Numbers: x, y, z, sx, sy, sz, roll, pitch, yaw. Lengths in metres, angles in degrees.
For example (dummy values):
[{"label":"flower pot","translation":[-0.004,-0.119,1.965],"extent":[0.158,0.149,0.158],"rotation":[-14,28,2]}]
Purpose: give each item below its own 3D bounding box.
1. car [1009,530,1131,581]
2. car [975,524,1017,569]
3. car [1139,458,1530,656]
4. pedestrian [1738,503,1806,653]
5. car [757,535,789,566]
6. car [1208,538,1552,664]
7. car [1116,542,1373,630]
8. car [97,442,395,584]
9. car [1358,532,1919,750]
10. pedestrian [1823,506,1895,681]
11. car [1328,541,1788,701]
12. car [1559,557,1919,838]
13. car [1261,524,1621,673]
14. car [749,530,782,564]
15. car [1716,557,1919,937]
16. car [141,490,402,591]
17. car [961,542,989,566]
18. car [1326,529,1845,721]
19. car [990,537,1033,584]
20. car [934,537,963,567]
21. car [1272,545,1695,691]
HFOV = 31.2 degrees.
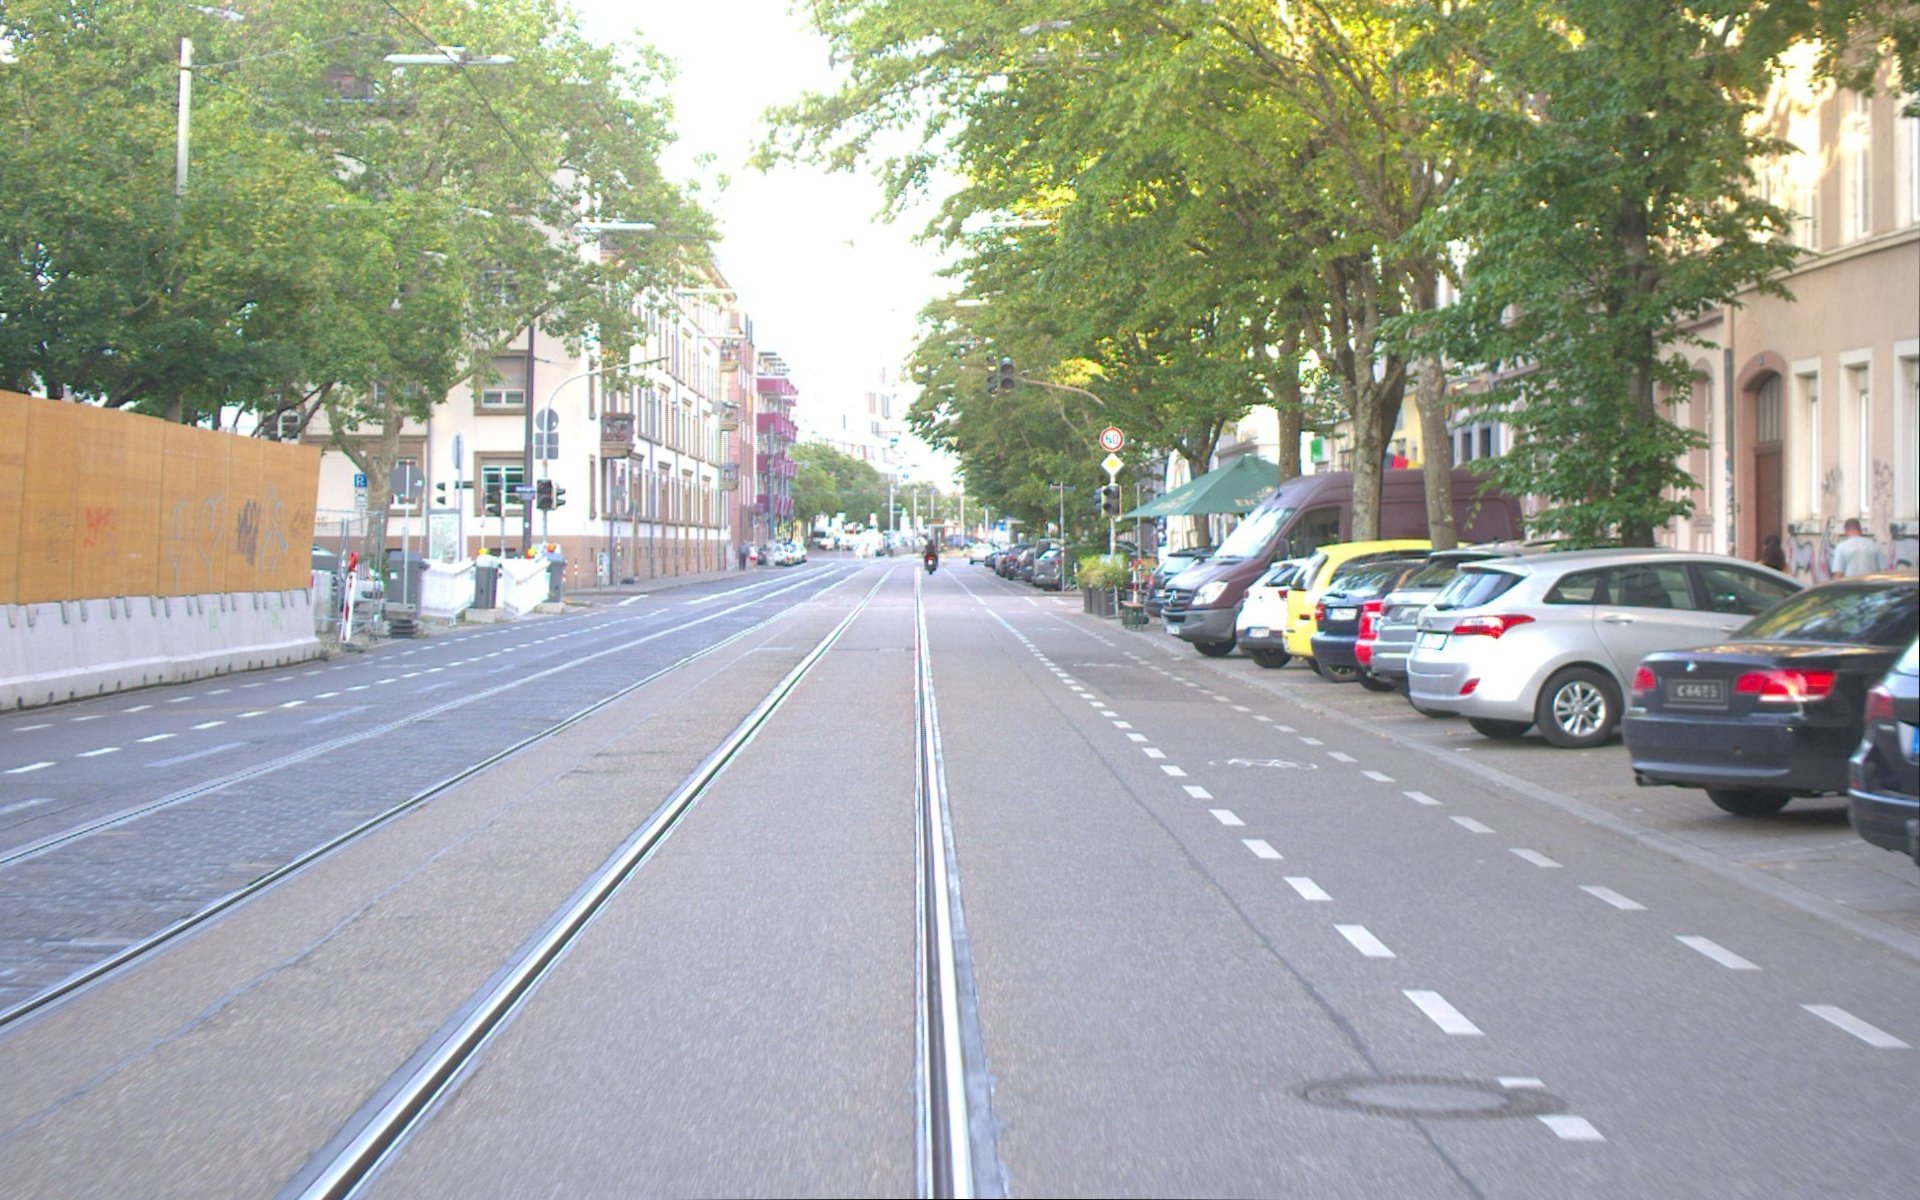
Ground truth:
[{"label":"car","translation":[3.556,-1.450,111.562],"extent":[3.887,1.587,1.861],"rotation":[1,1,1]},{"label":"car","translation":[1.621,-2.432,156.641],"extent":[1.804,2.007,4.000],"rotation":[1,1,-1]},{"label":"car","translation":[5.341,-0.627,49.082],"extent":[5.093,2.633,2.022],"rotation":[-2,1,-17]},{"label":"pedestrian","translation":[8.560,-0.237,36.274],"extent":[0.538,1.563,0.813],"rotation":[0,1,1]},{"label":"car","translation":[-12.333,-3.264,226.959],"extent":[1.898,2.007,4.000],"rotation":[1,1,-1]},{"label":"car","translation":[5.422,0.007,44.431],"extent":[3.950,1.481,1.921],"rotation":[-2,0,-24]},{"label":"car","translation":[5.146,-0.267,62.254],"extent":[4.174,1.493,2.009],"rotation":[-1,1,-25]},{"label":"car","translation":[-14.069,-1.728,68.001],"extent":[5.399,2.549,2.227],"rotation":[2,1,-3]},{"label":"car","translation":[5.507,0.283,27.155],"extent":[4.249,1.543,2.020],"rotation":[-2,1,-11]},{"label":"pedestrian","translation":[9.346,-0.069,35.755],"extent":[0.565,1.808,0.607],"rotation":[0,1,-1]},{"label":"car","translation":[5.921,0.188,34.028],"extent":[4.120,1.420,1.898],"rotation":[-2,1,-26]},{"label":"car","translation":[5.734,0.456,19.282],"extent":[4.249,1.387,2.016],"rotation":[-2,1,-24]},{"label":"car","translation":[5.638,-0.022,40.666],"extent":[3.950,1.614,1.921],"rotation":[-2,0,0]},{"label":"car","translation":[-12.527,-3.417,221.399],"extent":[1.898,2.171,4.000],"rotation":[1,1,-1]},{"label":"car","translation":[5.563,0.495,14.702],"extent":[4.115,1.465,2.016],"rotation":[-3,2,-25]},{"label":"car","translation":[-14.761,-1.294,73.838],"extent":[5.027,1.938,2.227],"rotation":[2,1,4]},{"label":"car","translation":[1.072,-3.308,247.268],"extent":[1.963,1.713,4.000],"rotation":[1,1,-1]},{"label":"car","translation":[5.661,0.200,31.138],"extent":[4.249,1.555,1.898],"rotation":[-2,0,-23]},{"label":"car","translation":[2.245,-1.737,149.946],"extent":[1.721,2.007,4.000],"rotation":[1,1,-1]},{"label":"car","translation":[-0.802,-3.334,236.283],"extent":[1.898,2.007,4.000],"rotation":[1,1,-1]},{"label":"car","translation":[5.668,0.173,37.206],"extent":[4.120,1.420,1.921],"rotation":[-2,1,-26]}]
